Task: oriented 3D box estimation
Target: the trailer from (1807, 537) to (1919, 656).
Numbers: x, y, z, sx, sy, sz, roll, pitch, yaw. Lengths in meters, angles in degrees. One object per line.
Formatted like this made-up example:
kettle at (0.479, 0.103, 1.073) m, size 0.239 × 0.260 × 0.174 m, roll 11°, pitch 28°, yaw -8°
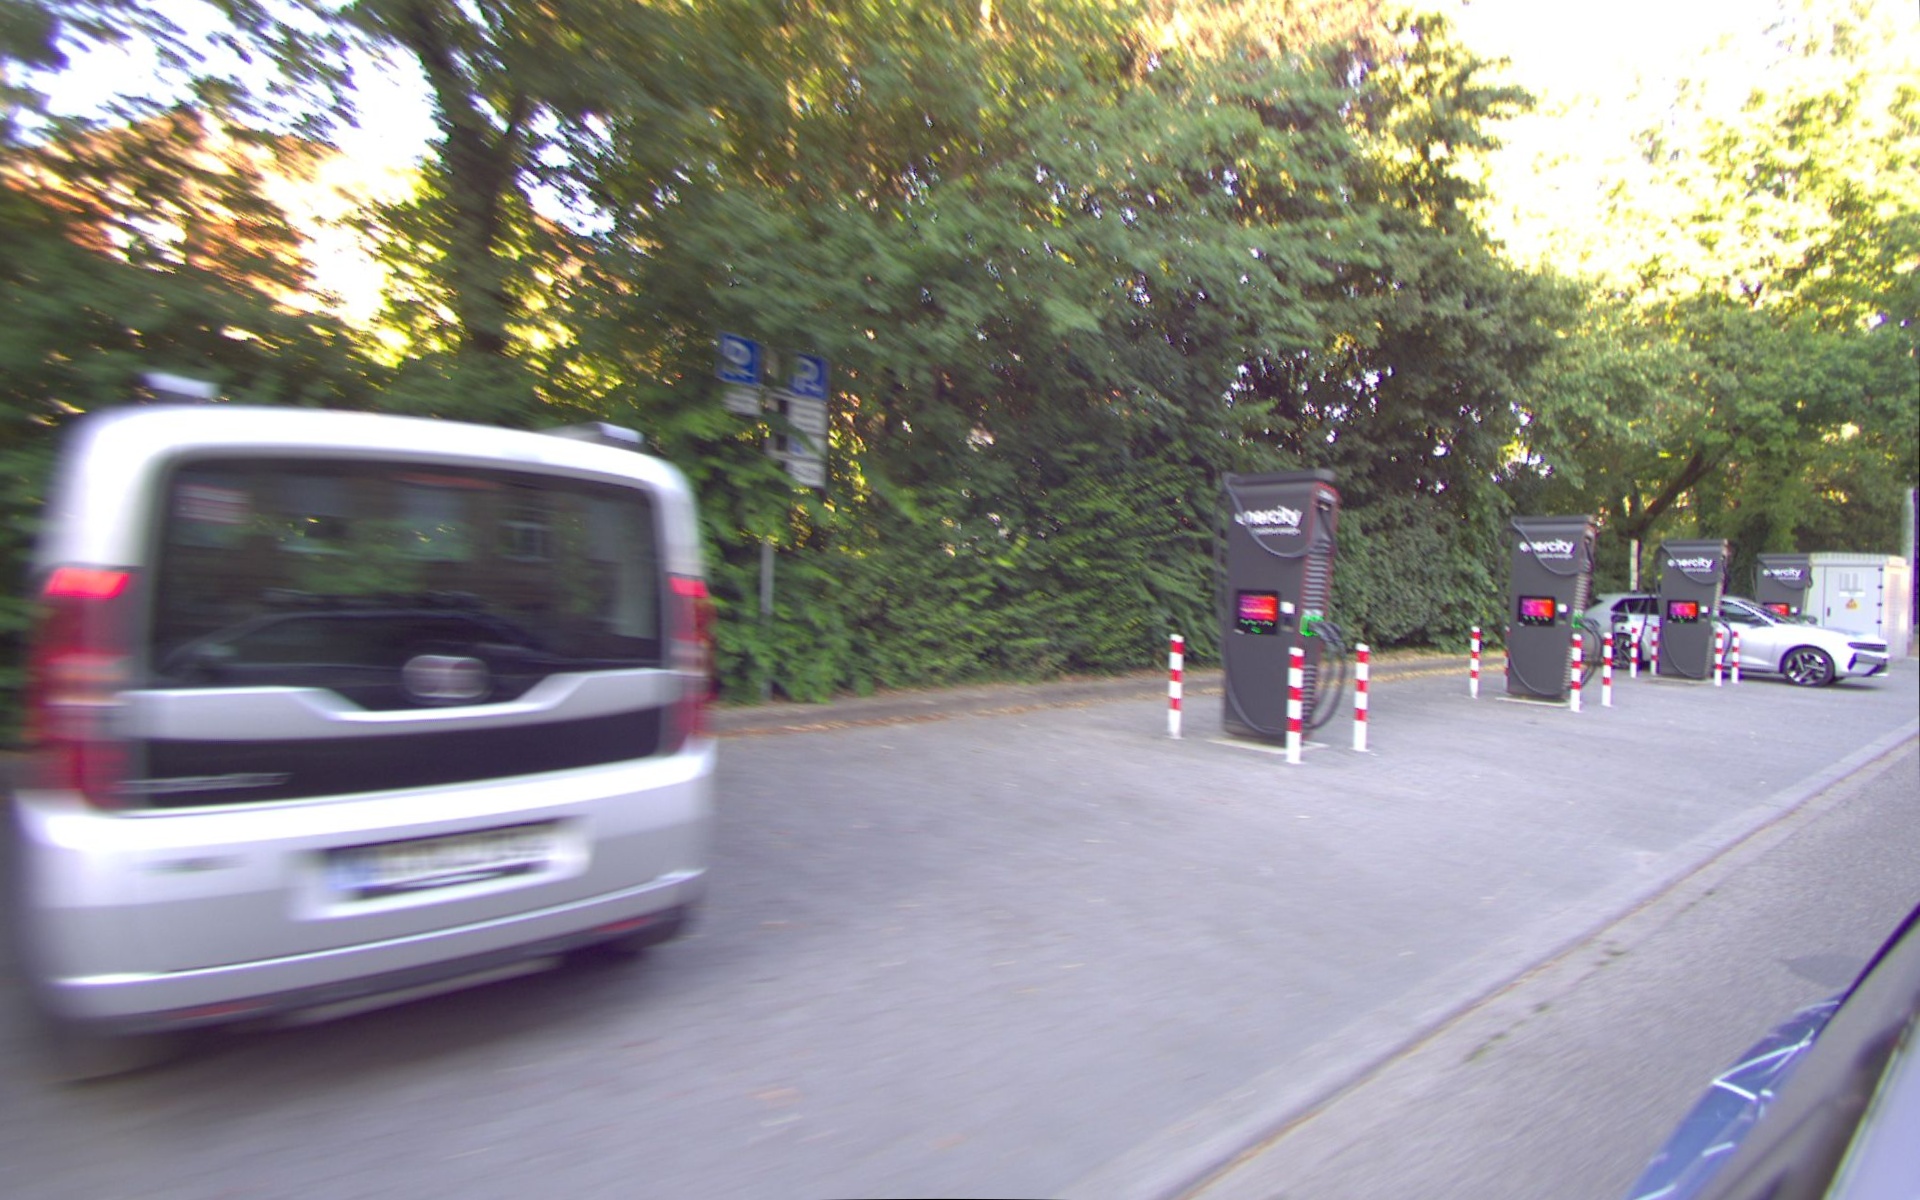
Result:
trailer at (21.998, -0.096, 24.473) m, size 3.636 × 2.673 × 1.601 m, roll 0°, pitch 2°, yaw -39°

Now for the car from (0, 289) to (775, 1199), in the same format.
car at (-2.396, 0.220, 4.020) m, size 1.751 × 1.906 × 3.612 m, roll 0°, pitch 3°, yaw -38°

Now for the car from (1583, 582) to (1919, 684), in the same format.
car at (13.955, 0.489, 18.109) m, size 1.680 × 1.484 × 4.443 m, roll 0°, pitch 2°, yaw -39°
